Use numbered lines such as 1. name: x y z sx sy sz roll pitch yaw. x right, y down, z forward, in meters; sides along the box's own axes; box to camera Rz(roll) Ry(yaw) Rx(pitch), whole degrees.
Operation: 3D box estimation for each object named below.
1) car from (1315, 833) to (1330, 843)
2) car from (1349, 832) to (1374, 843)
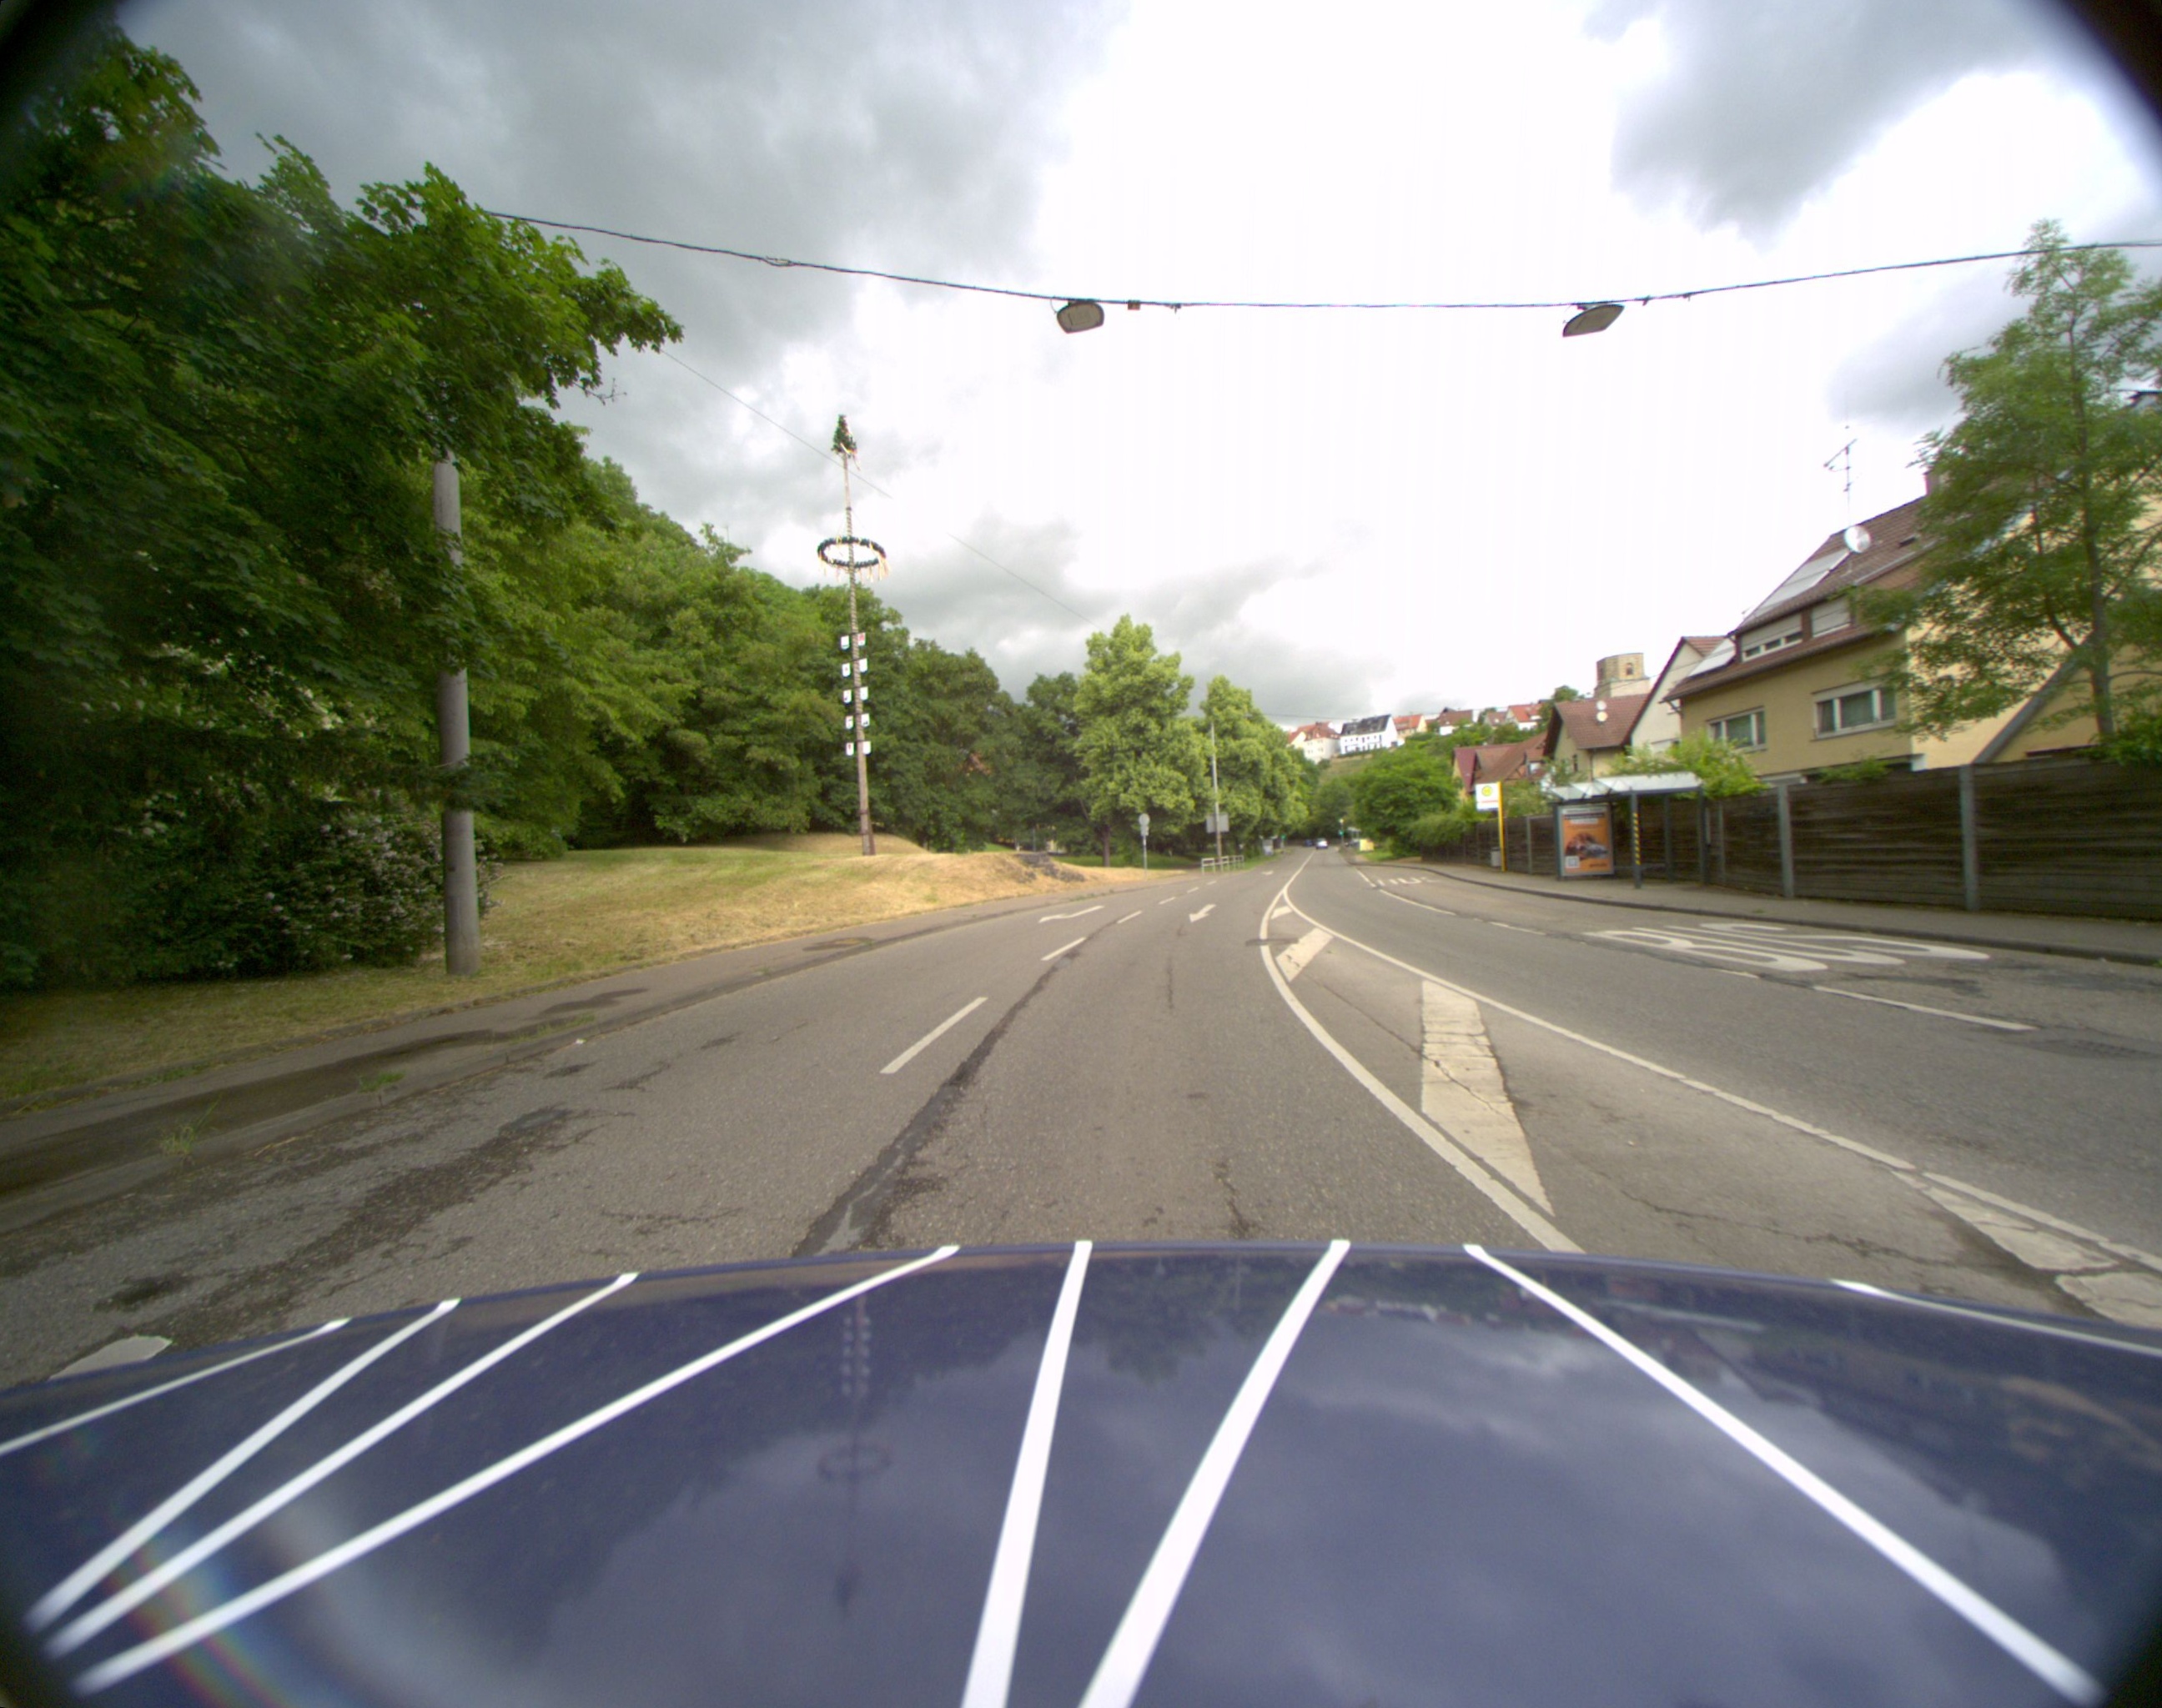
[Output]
1. car: 40.952 -2.684 128.855 1.996 1.608 4.004 -2 1 14
2. car: 46.062 -2.708 124.874 3.674 1.575 1.767 -2 1 24
